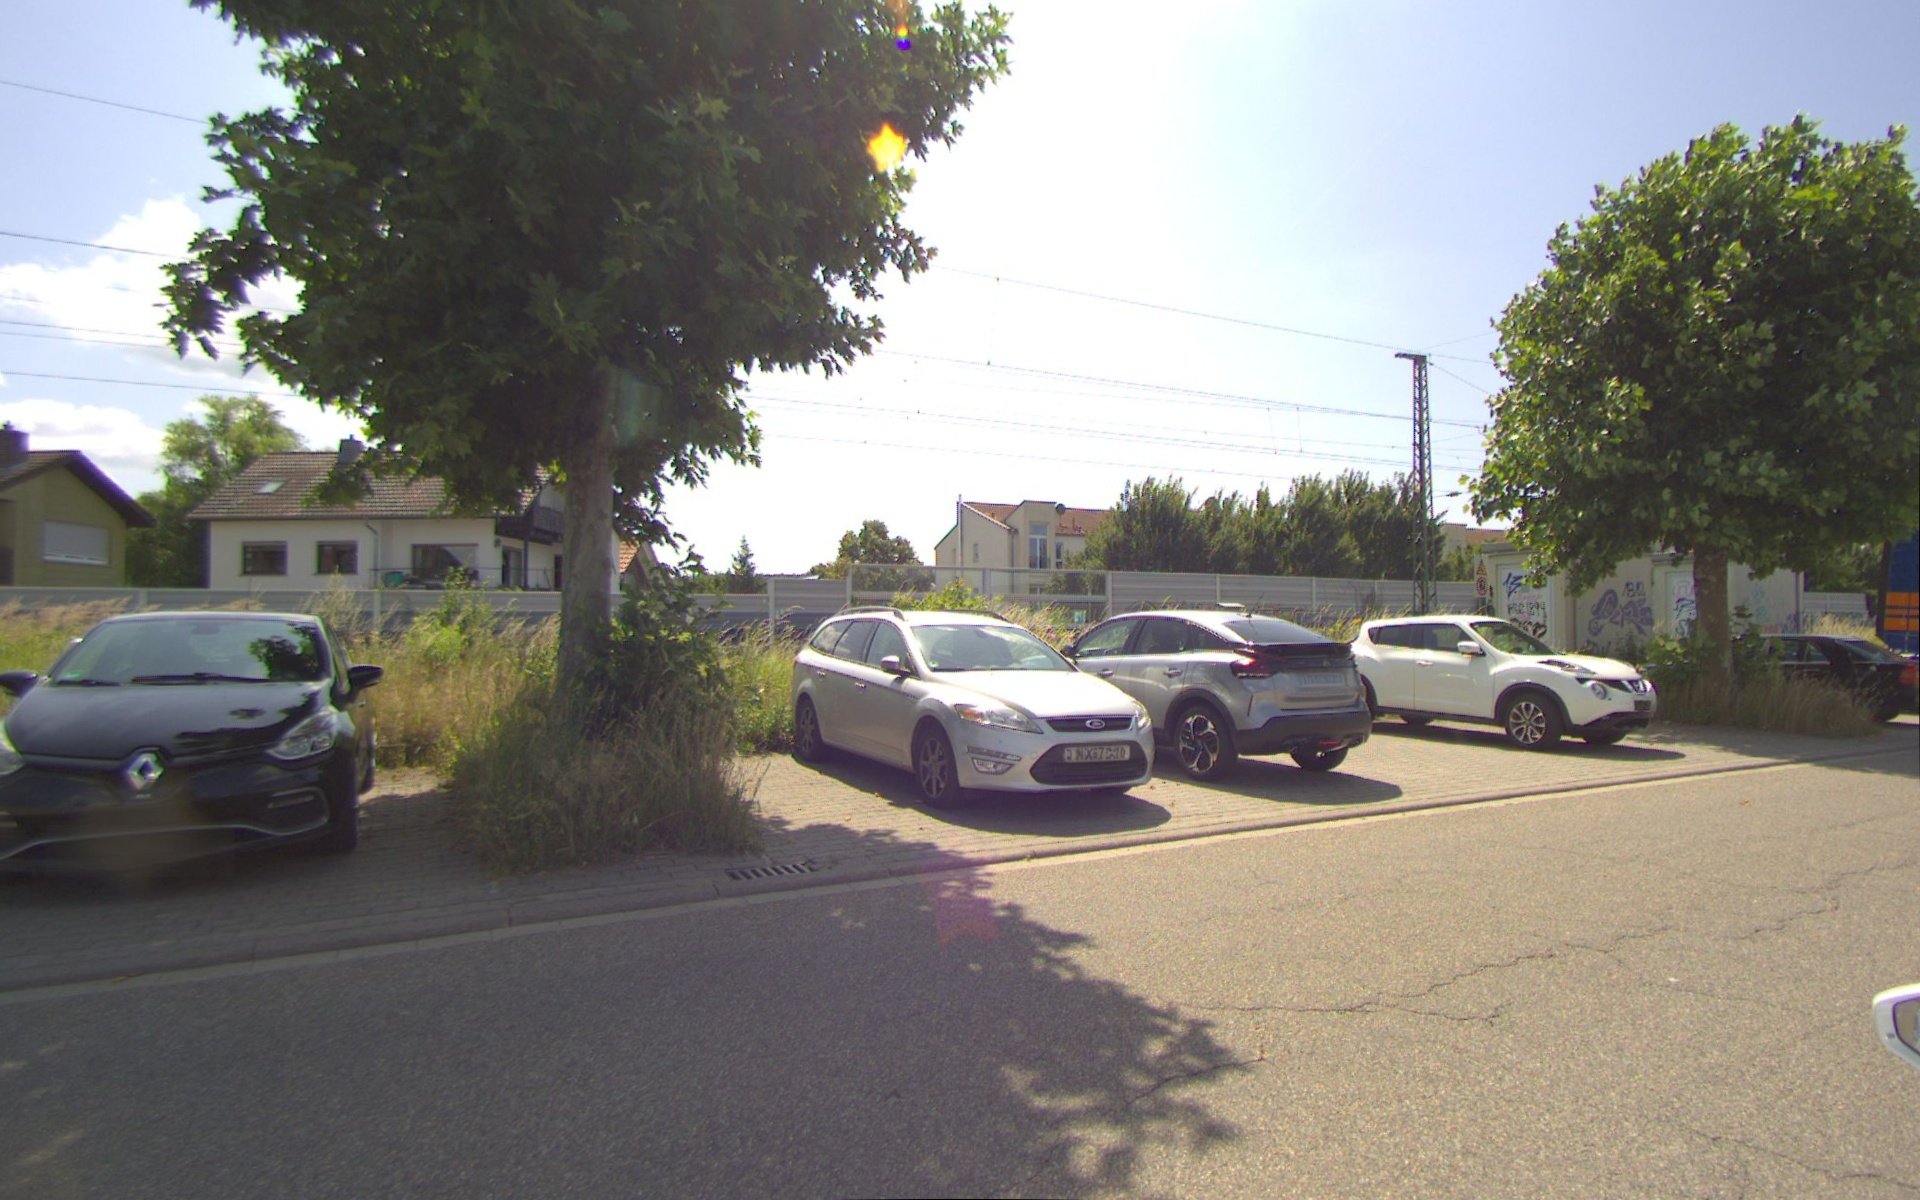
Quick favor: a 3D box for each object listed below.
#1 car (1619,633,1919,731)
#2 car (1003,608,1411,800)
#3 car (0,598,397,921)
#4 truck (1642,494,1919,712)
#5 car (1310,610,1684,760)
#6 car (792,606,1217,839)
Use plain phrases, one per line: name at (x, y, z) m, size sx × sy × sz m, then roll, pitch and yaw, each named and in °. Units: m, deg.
car at (14.016, 1.297, 17.212) m, size 1.850 × 1.413 × 4.189 m, roll 1°, pitch -2°, yaw -30°
car at (2.331, 0.917, 10.485) m, size 1.976 × 1.568 × 3.969 m, roll 1°, pitch -2°, yaw -30°
car at (-4.870, 0.821, 6.730) m, size 1.764 × 1.492 × 4.058 m, roll 1°, pitch -3°, yaw -28°
truck at (17.532, 0.101, 19.552) m, size 2.633 × 3.873 × 6.583 m, roll 1°, pitch -1°, yaw -30°
car at (6.804, 0.999, 13.159) m, size 1.830 × 1.639 × 3.950 m, roll 1°, pitch -2°, yaw -31°
car at (0.097, 0.859, 9.066) m, size 1.902 × 1.553 × 4.320 m, roll 0°, pitch -1°, yaw -28°
